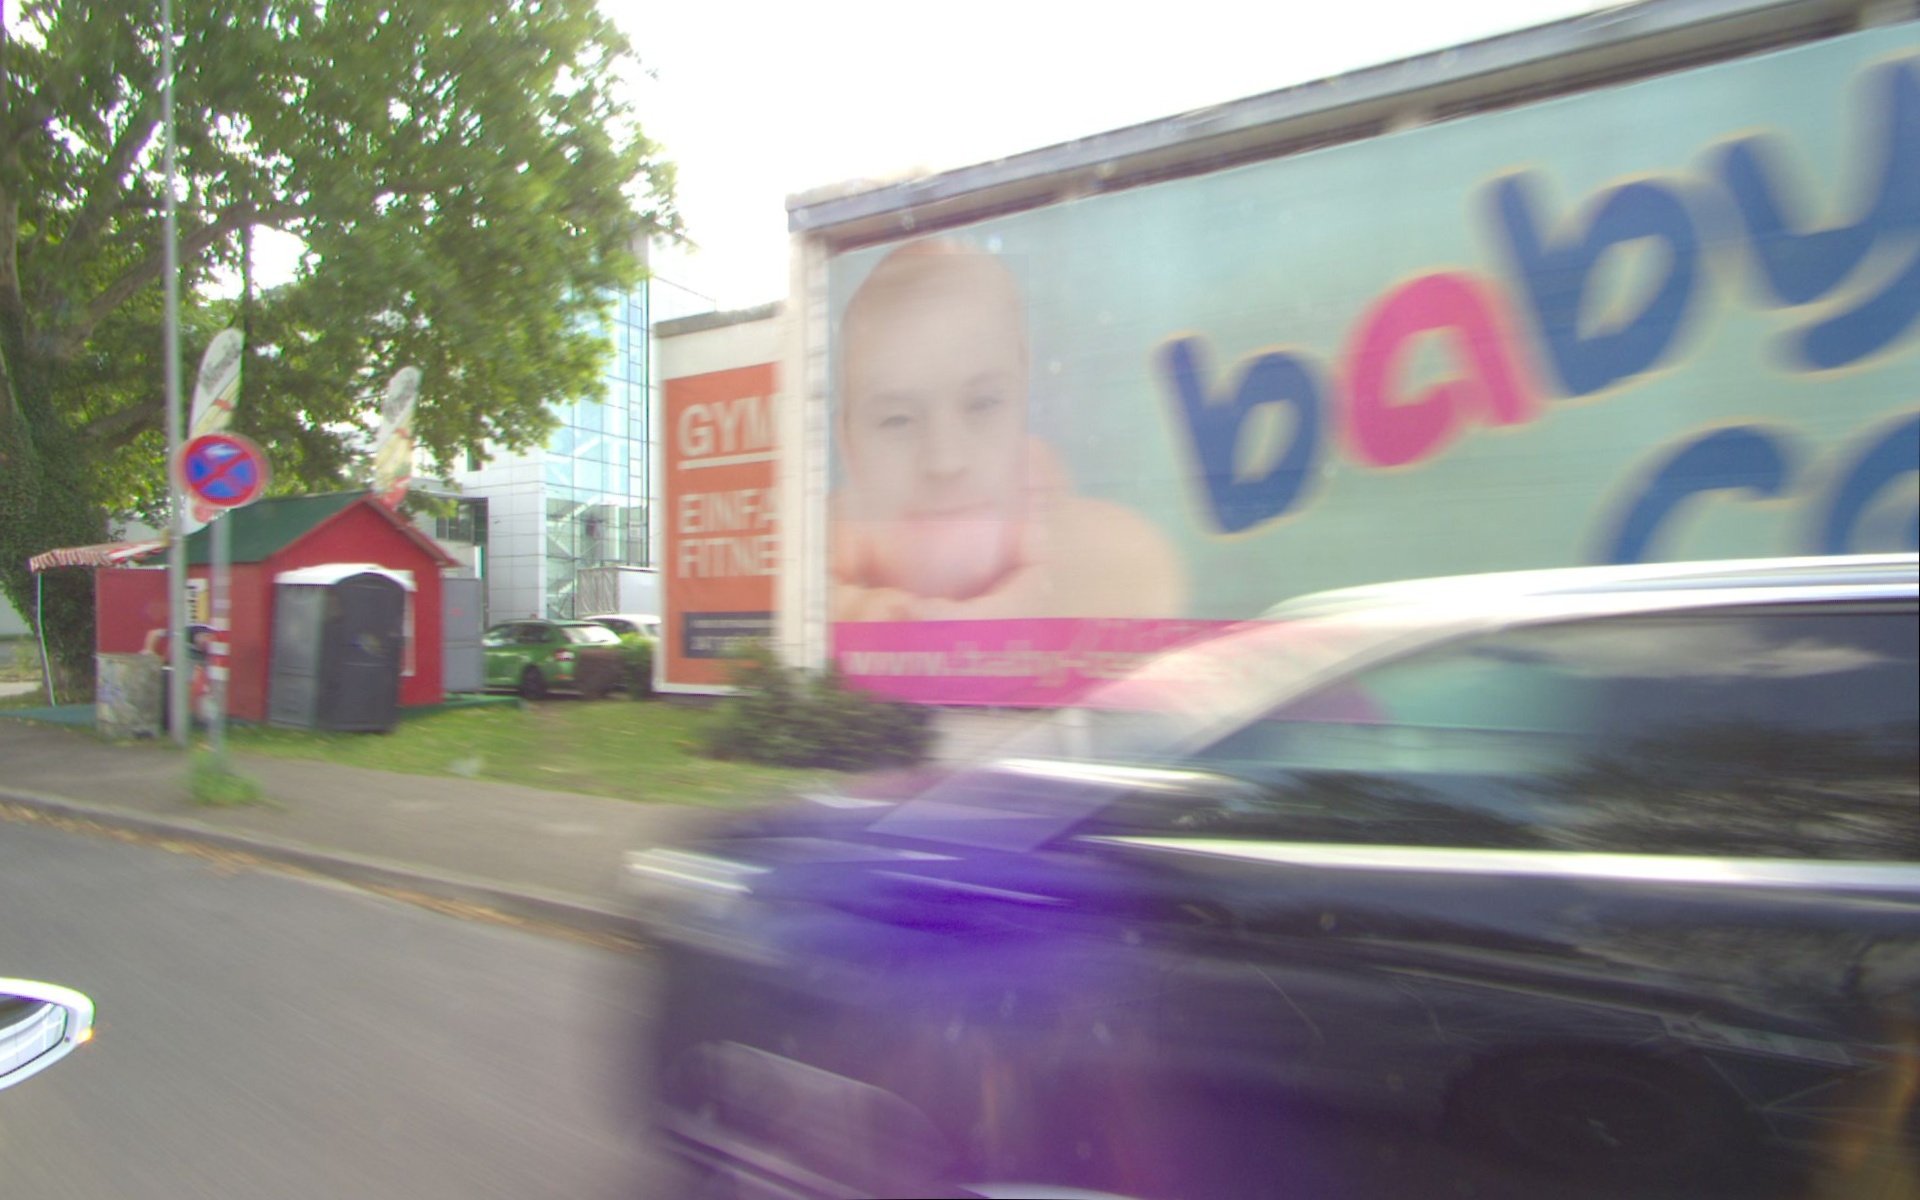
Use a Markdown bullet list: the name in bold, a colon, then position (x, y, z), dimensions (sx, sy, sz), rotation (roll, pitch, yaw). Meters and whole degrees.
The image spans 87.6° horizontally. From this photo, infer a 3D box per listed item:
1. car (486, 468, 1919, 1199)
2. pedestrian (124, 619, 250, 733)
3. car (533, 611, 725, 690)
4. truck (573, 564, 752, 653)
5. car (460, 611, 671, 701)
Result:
- **car**: position (1.284, 0.732, 2.247), dimensions (4.567, 1.686, 1.809), rotation (0, -3, 28)
- **pedestrian**: position (-9.538, 0.904, 12.361), dimensions (0.952, 1.331, 1.010), rotation (0, -1, 37)
- **car**: position (-7.188, 1.037, 21.689), dimensions (3.939, 1.589, 1.738), rotation (0, -1, 29)
- **truck**: position (-14.200, 0.480, 48.889), dimensions (2.755, 3.947, 9.513), rotation (0, -1, 26)
- **car**: position (-7.471, 0.993, 18.872), dimensions (3.943, 1.531, 1.736), rotation (0, -1, 32)
